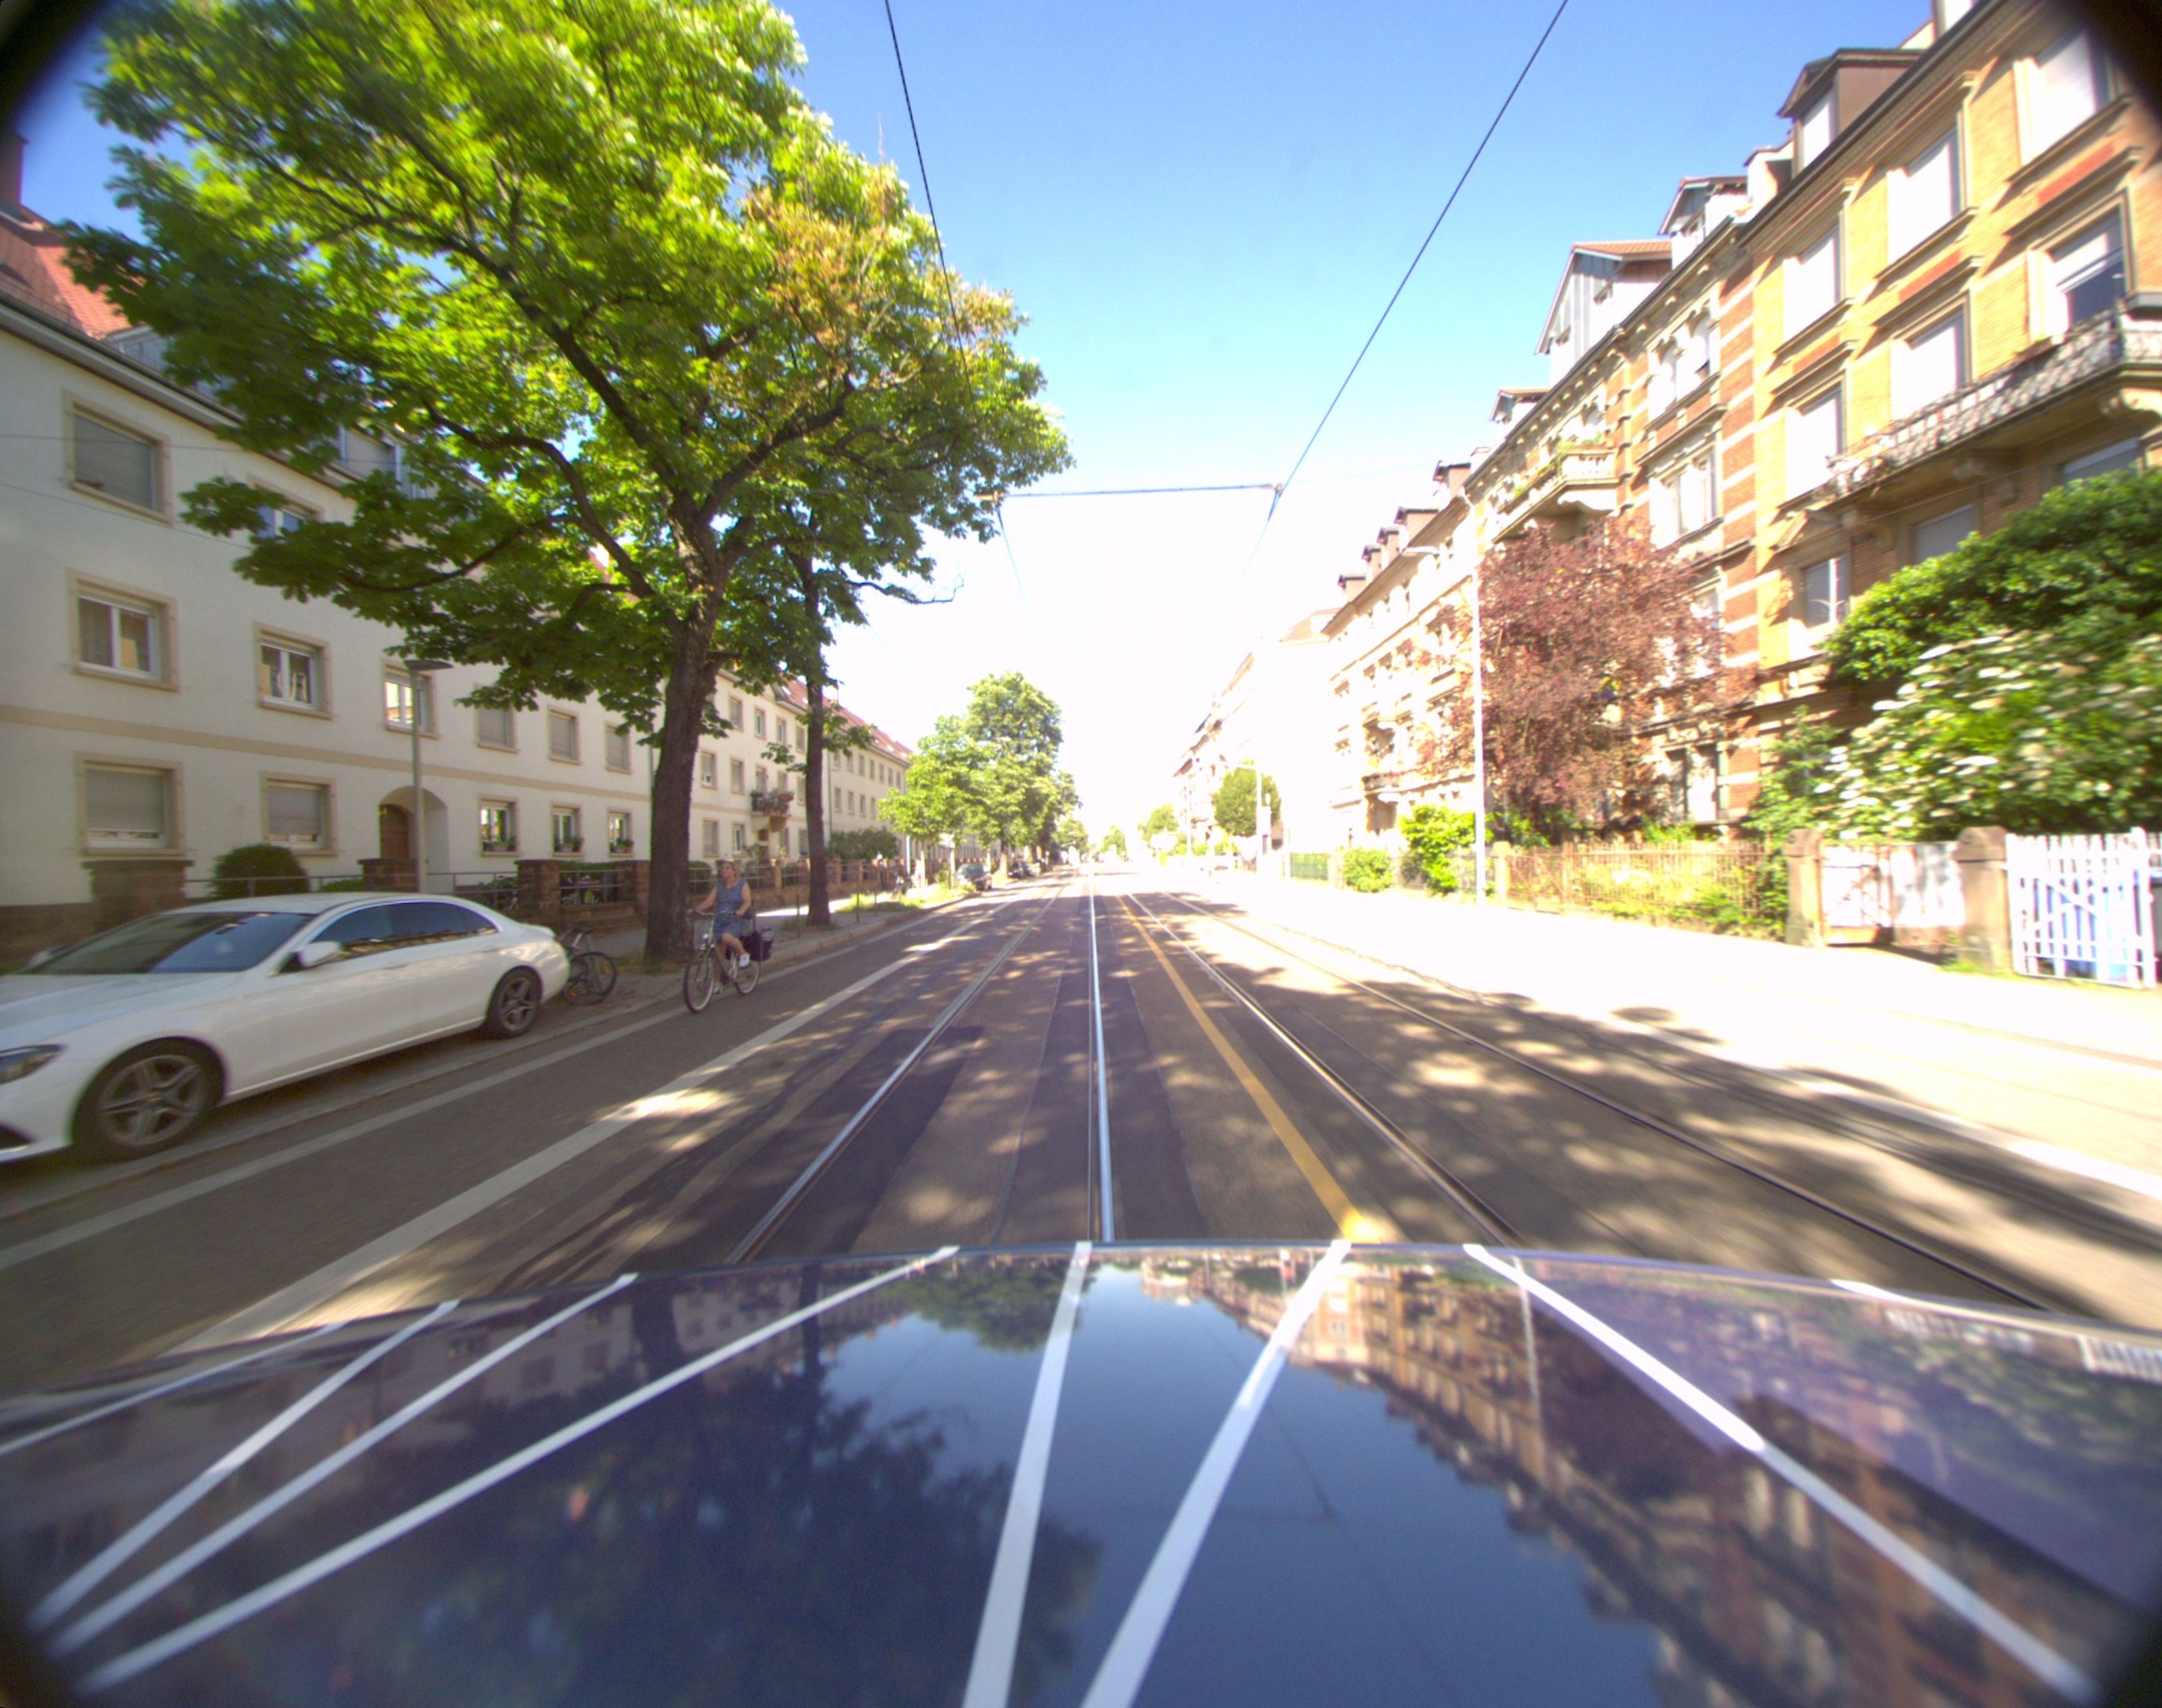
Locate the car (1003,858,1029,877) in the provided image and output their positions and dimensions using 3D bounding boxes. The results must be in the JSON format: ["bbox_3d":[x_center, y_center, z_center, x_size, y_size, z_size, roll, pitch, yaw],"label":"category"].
[{"bbox_3d":[-5.251,1.072,61.817,1.724,1.465,4.246,-1,0,-1],"label":"car"}]

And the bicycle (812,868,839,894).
[{"bbox_3d":[-12.123,1.250,36.058,0.546,1.146,1.917,-3,0,1],"label":"bicycle"}]

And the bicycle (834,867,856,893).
[{"bbox_3d":[-11.185,1.226,36.040,0.442,1.146,1.574,-3,0,1],"label":"bicycle"}]

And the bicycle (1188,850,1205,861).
[{"bbox_3d":[13.102,0.170,85.954,1.766,1.148,0.565,-5,0,0],"label":"bicycle"}]

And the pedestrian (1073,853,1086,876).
[{"bbox_3d":[-0.145,0.794,58.015,0.602,1.760,0.911,1,0,-30],"label":"pedestrian"}]

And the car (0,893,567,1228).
[{"bbox_3d":[-6.195,1.135,5.691,1.633,1.427,4.664,-1,0,-2],"label":"car"}]

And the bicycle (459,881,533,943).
[{"bbox_3d":[-12.506,1.211,16.275,0.435,1.216,1.373,-3,0,1],"label":"bicycle"}]

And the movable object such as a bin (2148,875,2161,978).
[{"bbox_3d":[11.397,0.735,7.581,0.586,1.048,0.619,-3,0,0],"label":"movable object such as a bin"}]

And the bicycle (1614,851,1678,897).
[{"bbox_3d":[12.929,0.455,17.395,1.150,0.966,0.295,-3,1,5],"label":"bicycle"}]

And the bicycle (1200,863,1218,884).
[{"bbox_3d":[6.882,1.036,40.786,0.693,1.106,1.718,-1,0,1],"label":"bicycle"}]

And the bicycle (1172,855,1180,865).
[{"bbox_3d":[10.377,0.644,82.819,0.564,1.027,1.767,-3,0,0],"label":"bicycle"}]

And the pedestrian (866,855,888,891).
[{"bbox_3d":[-9.992,0.929,37.244,0.763,1.714,0.581,-3,1,30],"label":"pedestrian"}]

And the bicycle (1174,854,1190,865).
[{"bbox_3d":[10.385,0.585,78.101,0.566,1.027,1.763,-3,-1,-36],"label":"bicycle"}]

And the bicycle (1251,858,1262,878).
[{"bbox_3d":[10.010,0.785,43.275,0.371,1.119,0.809,-3,0,1],"label":"bicycle"}]

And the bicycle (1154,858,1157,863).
[{"bbox_3d":[12.725,1.134,129.753,0.342,0.920,1.943,-3,0,5],"label":"bicycle"}]

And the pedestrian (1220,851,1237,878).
[{"bbox_3d":[9.958,0.694,51.278,0.830,1.714,1.084,-3,2,26],"label":"pedestrian"}]

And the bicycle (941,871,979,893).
[{"bbox_3d":[-6.066,1.395,38.183,1.798,1.061,0.620,0,0,-4],"label":"bicycle"}]

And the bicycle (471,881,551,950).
[{"bbox_3d":[-11.055,1.168,14.772,0.435,1.216,1.373,-3,0,1],"label":"bicycle"}]

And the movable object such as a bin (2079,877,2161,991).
[{"bbox_3d":[10.729,0.785,7.618,0.586,1.048,0.619,-3,0,0],"label":"movable object such as a bin"}]

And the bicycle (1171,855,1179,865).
[{"bbox_3d":[10.601,0.650,85.571,0.564,1.027,1.767,-3,0,0],"label":"bicycle"}]

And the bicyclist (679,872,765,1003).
[{"bbox_3d":[-4.260,0.974,9.055,0.637,1.459,0.616,-3,1,1],"label":"bicyclist"}]

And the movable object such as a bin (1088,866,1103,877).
[{"bbox_3d":[1.088,1.321,57.672,0.921,0.739,0.668,2,0,21],"label":"movable object such as a bin"}]

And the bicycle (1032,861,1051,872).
[{"bbox_3d":[-3.932,1.239,75.209,1.765,1.071,0.433,-3,1,2],"label":"bicycle"}]

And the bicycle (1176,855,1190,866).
[{"bbox_3d":[10.656,0.643,79.377,0.565,1.027,1.765,-6,0,-24],"label":"bicycle"}]

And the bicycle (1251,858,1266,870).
[{"bbox_3d":[15.165,0.855,64.739,1.545,0.909,0.246,-3,2,-35],"label":"bicycle"}]

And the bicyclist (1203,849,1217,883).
[{"bbox_3d":[6.877,0.630,40.618,0.662,1.791,0.616,0,1,1],"label":"bicyclist"}]

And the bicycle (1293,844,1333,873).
[{"bbox_3d":[11.659,0.220,38.136,1.768,1.313,0.613,-3,0,-8],"label":"bicycle"}]

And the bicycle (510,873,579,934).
[{"bbox_3d":[-11.510,1.036,16.353,0.435,1.216,1.373,-3,0,1],"label":"bicycle"}]

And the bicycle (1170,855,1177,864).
[{"bbox_3d":[10.896,0.676,89.524,0.564,1.027,1.768,-3,-1,1],"label":"bicycle"}]

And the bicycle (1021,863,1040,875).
[{"bbox_3d":[-5.038,1.476,75.714,1.765,1.071,0.433,-3,1,2],"label":"bicycle"}]

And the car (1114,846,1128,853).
[{"bbox_3d":[12.151,-1.371,231.715,3.886,1.581,1.816,-3,4,-4],"label":"car"}]

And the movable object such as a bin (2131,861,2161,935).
[{"bbox_3d":[13.915,0.546,9.526,0.587,0.898,0.605,-5,0,0],"label":"movable object such as a bin"}]

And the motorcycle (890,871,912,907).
[{"bbox_3d":[-6.225,1.194,26.391,0.496,1.184,1.861,2,0,-7],"label":"motorcycle"}]

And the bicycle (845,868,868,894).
[{"bbox_3d":[-10.622,1.247,36.050,0.449,1.146,1.917,-2,0,1],"label":"bicycle"}]

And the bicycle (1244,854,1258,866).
[{"bbox_3d":[14.016,0.457,62.614,0.619,0.909,1.297,-1,2,39],"label":"bicycle"}]

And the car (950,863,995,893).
[{"bbox_3d":[-5.777,1.234,40.825,1.791,1.455,4.044,-1,0,1],"label":"car"}]

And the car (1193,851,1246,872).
[{"bbox_3d":[12.590,0.656,69.325,4.456,1.634,1.967,-3,1,3],"label":"car"}]

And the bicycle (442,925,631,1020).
[{"bbox_3d":[-6.420,1.388,9.013,1.797,1.013,0.620,0,0,0],"label":"bicycle"}]

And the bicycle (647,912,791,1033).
[{"bbox_3d":[-4.206,1.334,9.015,0.693,1.106,1.917,-3,0,1],"label":"bicycle"}]

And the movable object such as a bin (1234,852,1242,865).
[{"bbox_3d":[13.451,0.415,64.905,0.577,1.064,0.717,-3,0,14],"label":"movable object such as a bin"}]

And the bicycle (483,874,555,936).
[{"bbox_3d":[-12.000,1.072,16.266,0.435,1.216,1.373,-3,0,1],"label":"bicycle"}]

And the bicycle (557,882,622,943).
[{"bbox_3d":[-10.729,1.245,16.635,0.435,1.216,1.373,-3,0,1],"label":"bicycle"}]

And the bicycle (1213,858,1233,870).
[{"bbox_3d":[12.077,0.837,64.524,1.791,0.909,0.619,-3,2,-35],"label":"bicycle"}]

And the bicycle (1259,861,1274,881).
[{"bbox_3d":[9.873,0.873,40.417,0.336,0.995,1.870,-3,0,1],"label":"bicycle"}]

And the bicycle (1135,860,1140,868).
[{"bbox_3d":[6.716,1.160,91.041,0.461,0.920,2.203,0,0,1],"label":"bicycle"}]
